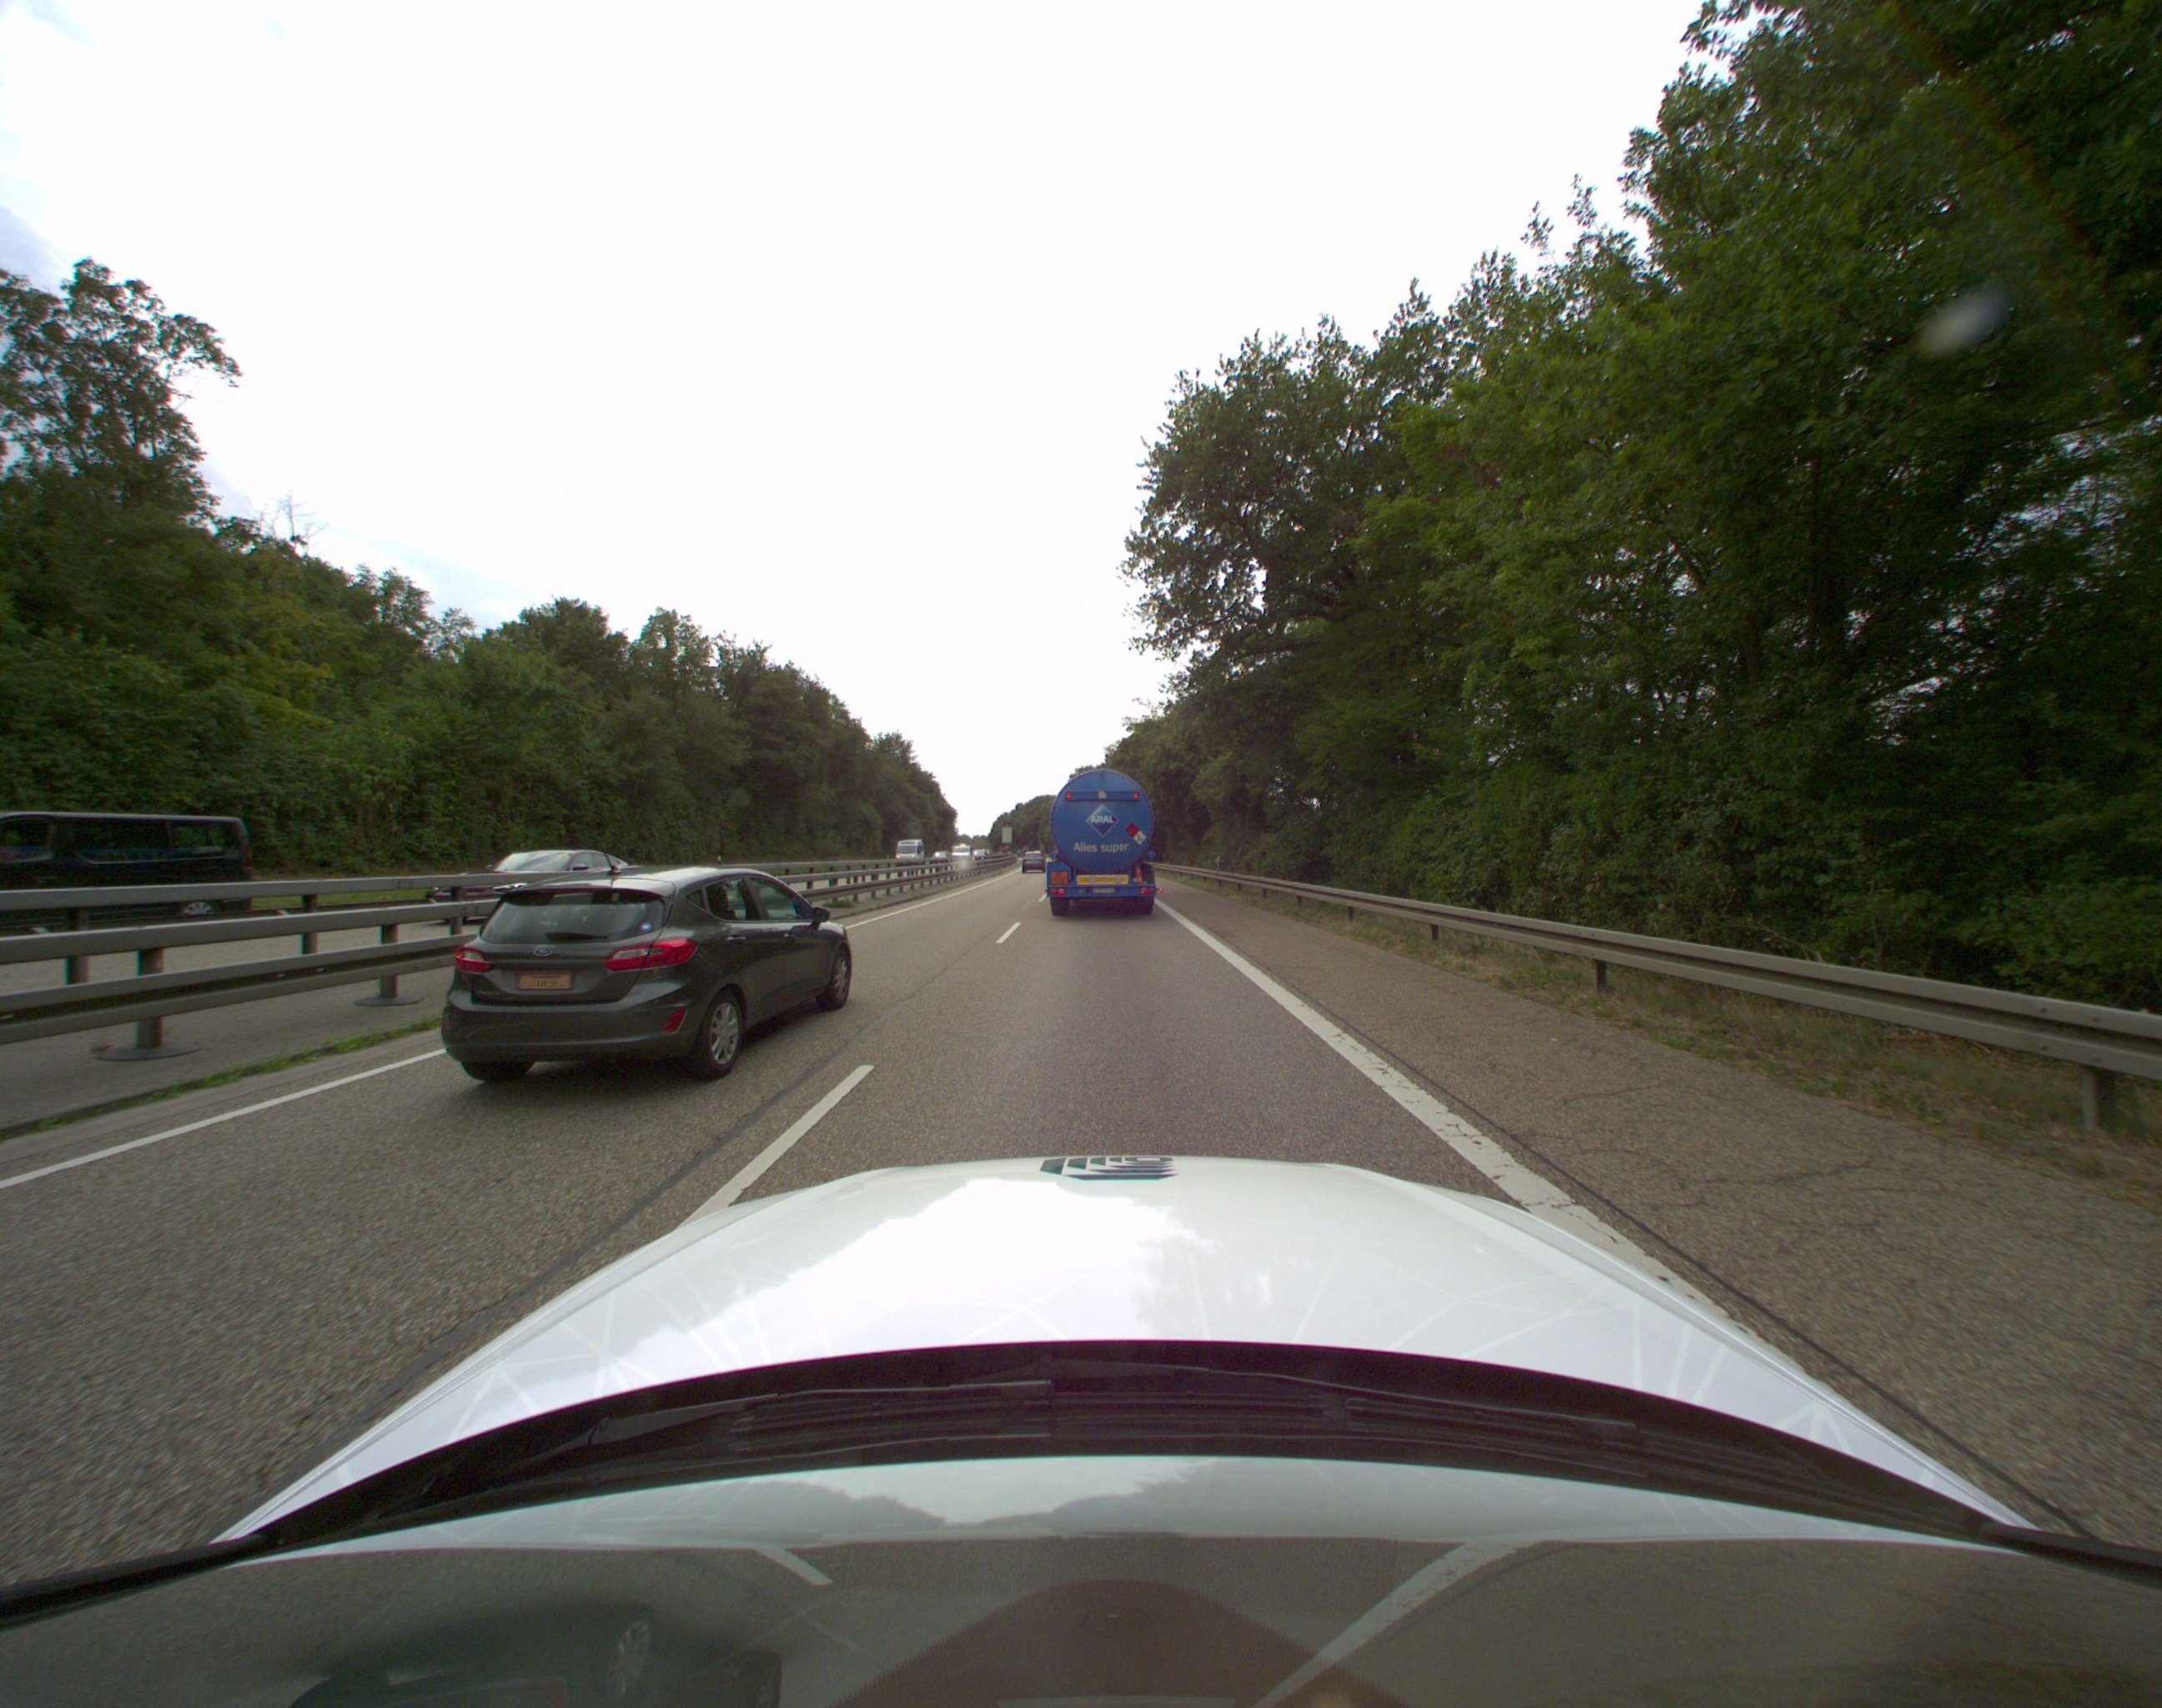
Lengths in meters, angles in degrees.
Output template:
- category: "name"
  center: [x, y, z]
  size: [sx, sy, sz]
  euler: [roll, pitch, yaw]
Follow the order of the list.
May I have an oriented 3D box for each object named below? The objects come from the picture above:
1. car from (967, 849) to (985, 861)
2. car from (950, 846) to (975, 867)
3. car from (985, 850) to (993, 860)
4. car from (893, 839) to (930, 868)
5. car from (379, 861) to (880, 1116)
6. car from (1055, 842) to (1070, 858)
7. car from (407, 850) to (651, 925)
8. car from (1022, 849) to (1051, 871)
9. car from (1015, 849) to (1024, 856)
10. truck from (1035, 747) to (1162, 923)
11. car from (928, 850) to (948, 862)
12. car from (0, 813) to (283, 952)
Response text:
- category: "car"
  center: [-13.337, 0.139, 103.987]
  size: [1.776, 1.563, 4.013]
  euler: [-1, 0, -1]
- category: "car"
  center: [-11.882, 0.273, 81.942]
  size: [1.816, 1.983, 5.056]
  euler: [-1, 0, 0]
- category: "car"
  center: [-21.943, 0.241, 194.480]
  size: [1.934, 2.321, 5.291]
  euler: [-1, 0, -7]
- category: "car"
  center: [-15.960, -0.007, 77.048]
  size: [2.305, 2.611, 5.551]
  euler: [-1, 0, -1]
- category: "car"
  center: [-3.249, 0.814, 7.160]
  size: [1.821, 1.458, 4.638]
  euler: [-1, 0, -1]
- category: "car"
  center: [-2.703, -0.592, 121.962]
  size: [1.986, 2.244, 4.001]
  euler: [-1, 0, 1]
- category: "car"
  center: [-10.878, 0.597, 16.576]
  size: [1.649, 1.278, 4.714]
  euler: [-1, 0, 1]
- category: "car"
  center: [-3.398, 0.484, 62.641]
  size: [1.819, 1.609, 4.168]
  euler: [-1, 0, 1]
- category: "car"
  center: [-14.950, -0.329, 199.224]
  size: [1.992, 1.552, 3.990]
  euler: [-1, 0, -7]
- category: "truck"
  center: [0.603, -0.432, 21.812]
  size: [2.744, 3.846, 7.695]
  euler: [-1, 0, 3]
- category: "car"
  center: [-17.310, 0.249, 98.782]
  size: [1.769, 1.296, 4.105]
  euler: [-1, 0, -1]
- category: "car"
  center: [-15.030, 0.395, 11.681]
  size: [2.027, 1.804, 5.124]
  euler: [-1, 0, 1]
